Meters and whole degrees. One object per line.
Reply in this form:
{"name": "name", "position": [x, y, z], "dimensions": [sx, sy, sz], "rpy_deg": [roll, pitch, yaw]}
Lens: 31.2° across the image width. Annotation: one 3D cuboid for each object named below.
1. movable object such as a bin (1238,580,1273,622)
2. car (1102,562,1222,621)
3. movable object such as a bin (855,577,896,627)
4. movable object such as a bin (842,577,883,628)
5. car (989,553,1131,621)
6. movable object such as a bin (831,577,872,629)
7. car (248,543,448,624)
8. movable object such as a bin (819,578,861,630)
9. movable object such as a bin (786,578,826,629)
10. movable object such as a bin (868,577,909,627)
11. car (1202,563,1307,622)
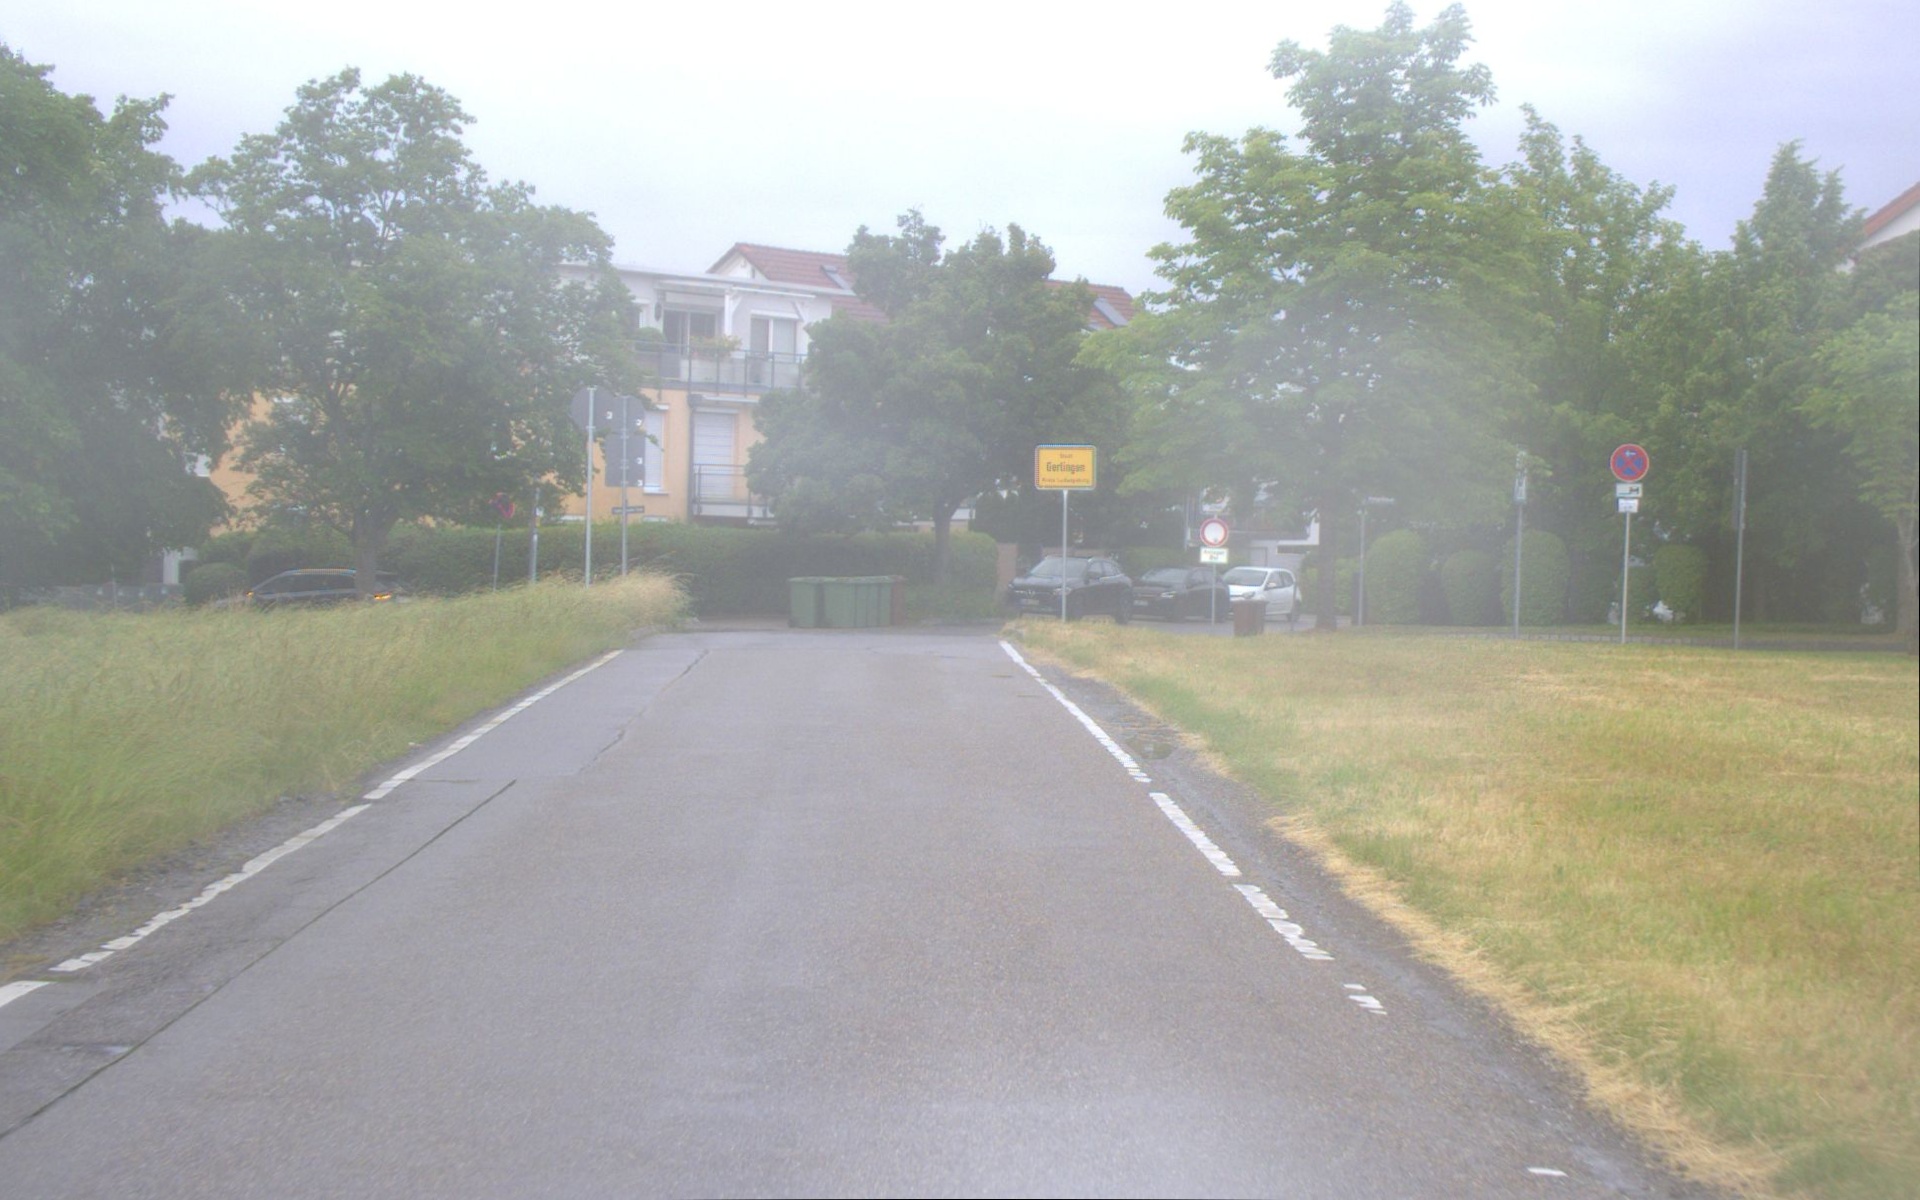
{"name": "movable object such as a bin", "position": [6.540, 0.023, 76.061], "dimensions": [0.571, 0.928, 0.529], "rpy_deg": [2, 0, 33]}
{"name": "car", "position": [5.231, -0.206, 88.688], "dimensions": [1.638, 1.404, 3.599], "rpy_deg": [4, 1, 29]}
{"name": "movable object such as a bin", "position": [-1.818, 0.042, 74.056], "dimensions": [0.695, 1.051, 0.605], "rpy_deg": [1, 1, 20]}
{"name": "movable object such as a bin", "position": [-2.088, 0.051, 73.475], "dimensions": [0.695, 1.063, 0.578], "rpy_deg": [1, 1, 20]}
{"name": "car", "position": [2.466, -0.305, 83.613], "dimensions": [1.778, 1.513, 4.131], "rpy_deg": [4, 1, 27]}
{"name": "movable object such as a bin", "position": [-2.300, 0.062, 72.890], "dimensions": [0.695, 1.071, 0.543], "rpy_deg": [1, 1, 20]}
{"name": "car", "position": [-12.221, -0.339, 68.627], "dimensions": [3.691, 1.547, 1.689], "rpy_deg": [1, 0, 29]}
{"name": "movable object such as a bin", "position": [-2.519, 0.080, 72.306], "dimensions": [0.695, 1.071, 0.601], "rpy_deg": [1, 1, 20]}
{"name": "movable object such as a bin", "position": [-3.244, 0.068, 72.537], "dimensions": [0.666, 1.070, 0.543], "rpy_deg": [1, 1, 20]}
{"name": "movable object such as a bin", "position": [-1.554, 0.040, 74.733], "dimensions": [0.695, 1.051, 0.605], "rpy_deg": [1, 1, 20]}
{"name": "car", "position": [8.013, -0.188, 93.234], "dimensions": [1.513, 1.471, 3.268], "rpy_deg": [4, 1, 30]}
